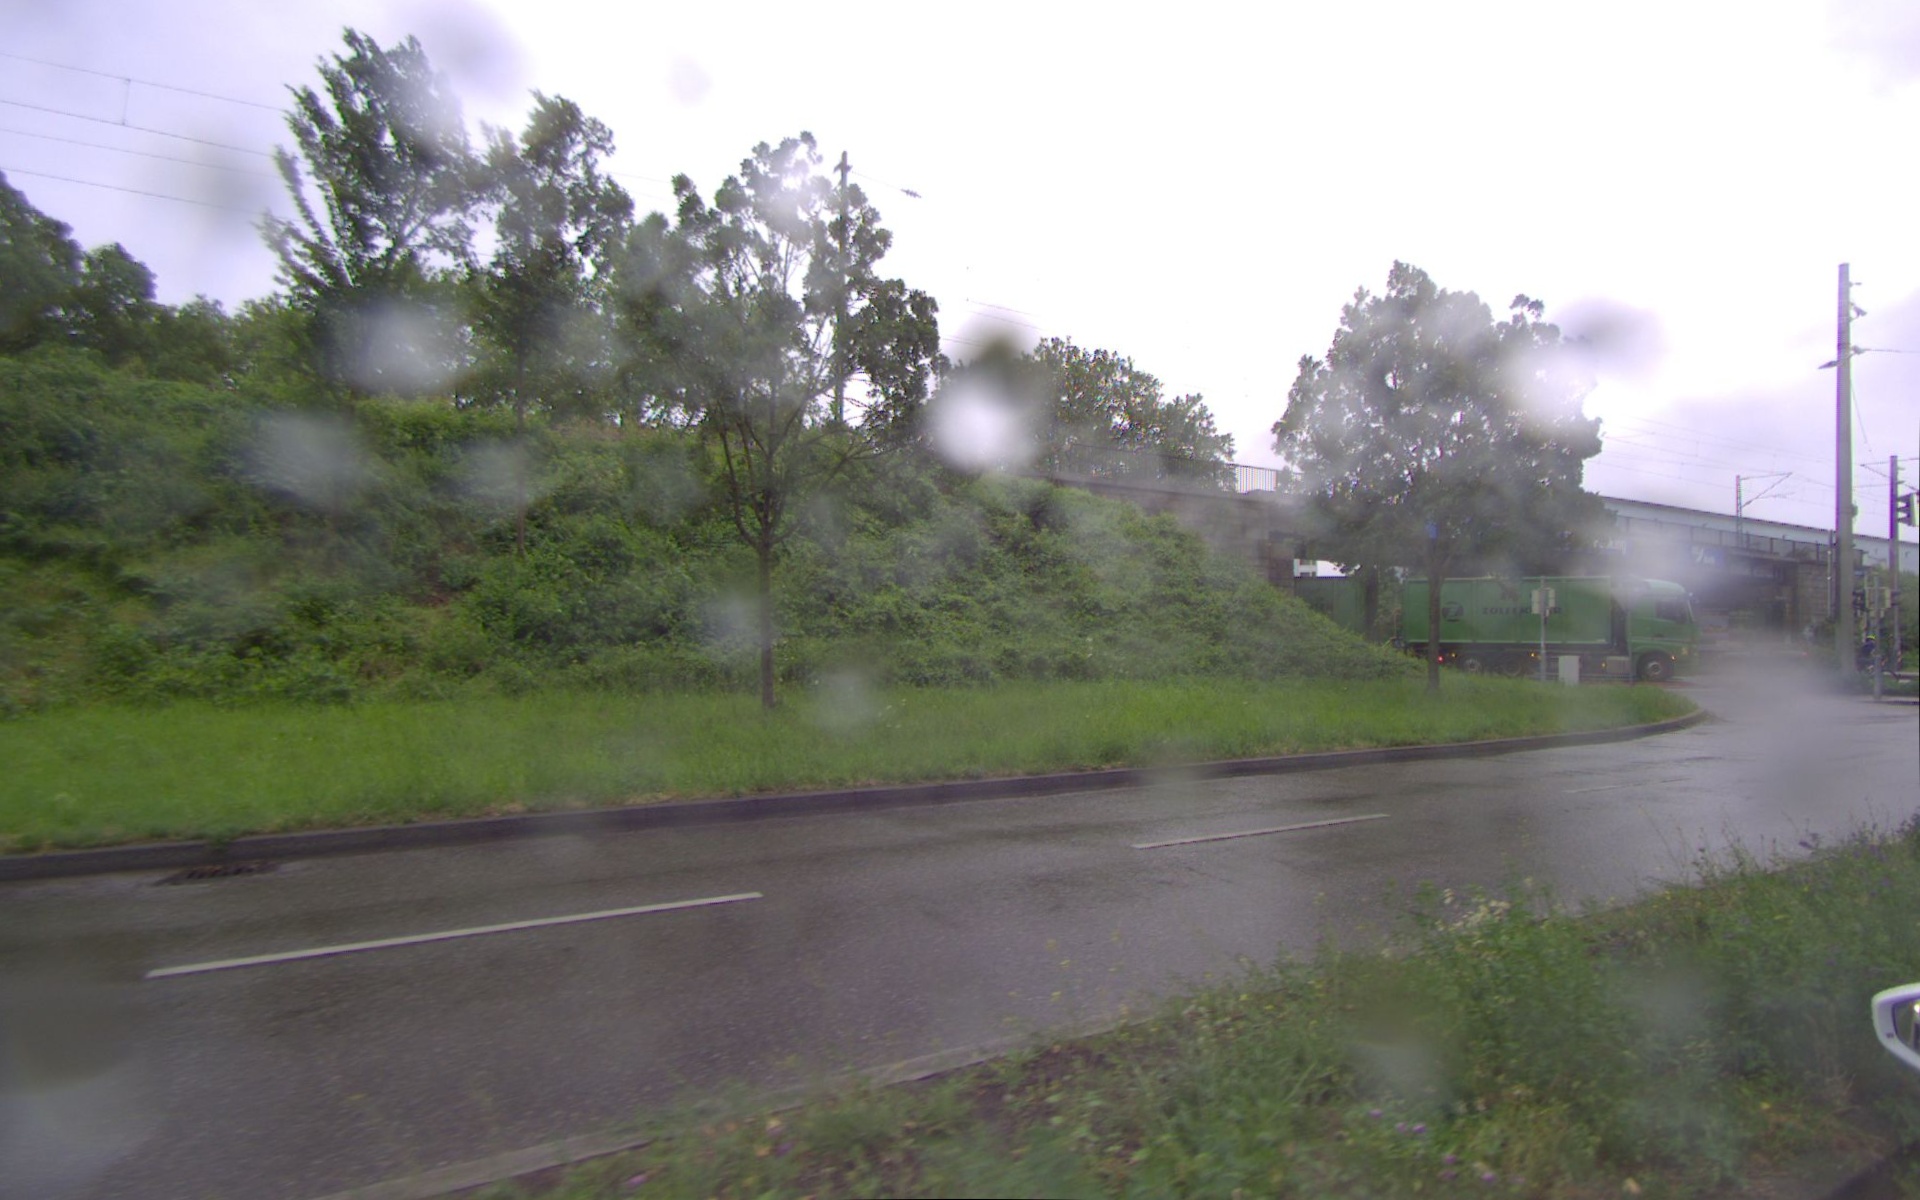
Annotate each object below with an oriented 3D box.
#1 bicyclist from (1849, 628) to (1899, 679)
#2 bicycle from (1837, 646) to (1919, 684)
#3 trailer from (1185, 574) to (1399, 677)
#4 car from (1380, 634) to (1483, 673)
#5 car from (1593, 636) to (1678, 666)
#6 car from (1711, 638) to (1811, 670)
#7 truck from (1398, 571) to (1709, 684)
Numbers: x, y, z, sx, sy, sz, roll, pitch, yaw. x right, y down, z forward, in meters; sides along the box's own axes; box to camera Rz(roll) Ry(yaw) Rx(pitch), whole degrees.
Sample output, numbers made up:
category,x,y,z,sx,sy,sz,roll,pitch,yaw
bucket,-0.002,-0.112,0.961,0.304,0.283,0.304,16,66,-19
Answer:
category,x,y,z,sx,sy,sz,roll,pitch,yaw
bicyclist,29.676,1.723,32.629,1.029,1.614,0.803,1,-1,33
bicycle,29.750,2.087,32.576,1.880,1.109,0.693,1,-1,34
trailer,14.001,1.057,42.530,8.359,4.039,2.688,0,-2,25
car,20.237,2.271,43.277,3.924,1.594,1.999,-1,-2,24
car,37.422,2.826,55.762,3.781,1.594,1.862,-1,-2,32
car,40.106,2.676,50.366,3.839,1.537,1.801,-1,-2,39
truck,22.327,1.045,38.656,10.002,4.001,2.686,0,-2,25
